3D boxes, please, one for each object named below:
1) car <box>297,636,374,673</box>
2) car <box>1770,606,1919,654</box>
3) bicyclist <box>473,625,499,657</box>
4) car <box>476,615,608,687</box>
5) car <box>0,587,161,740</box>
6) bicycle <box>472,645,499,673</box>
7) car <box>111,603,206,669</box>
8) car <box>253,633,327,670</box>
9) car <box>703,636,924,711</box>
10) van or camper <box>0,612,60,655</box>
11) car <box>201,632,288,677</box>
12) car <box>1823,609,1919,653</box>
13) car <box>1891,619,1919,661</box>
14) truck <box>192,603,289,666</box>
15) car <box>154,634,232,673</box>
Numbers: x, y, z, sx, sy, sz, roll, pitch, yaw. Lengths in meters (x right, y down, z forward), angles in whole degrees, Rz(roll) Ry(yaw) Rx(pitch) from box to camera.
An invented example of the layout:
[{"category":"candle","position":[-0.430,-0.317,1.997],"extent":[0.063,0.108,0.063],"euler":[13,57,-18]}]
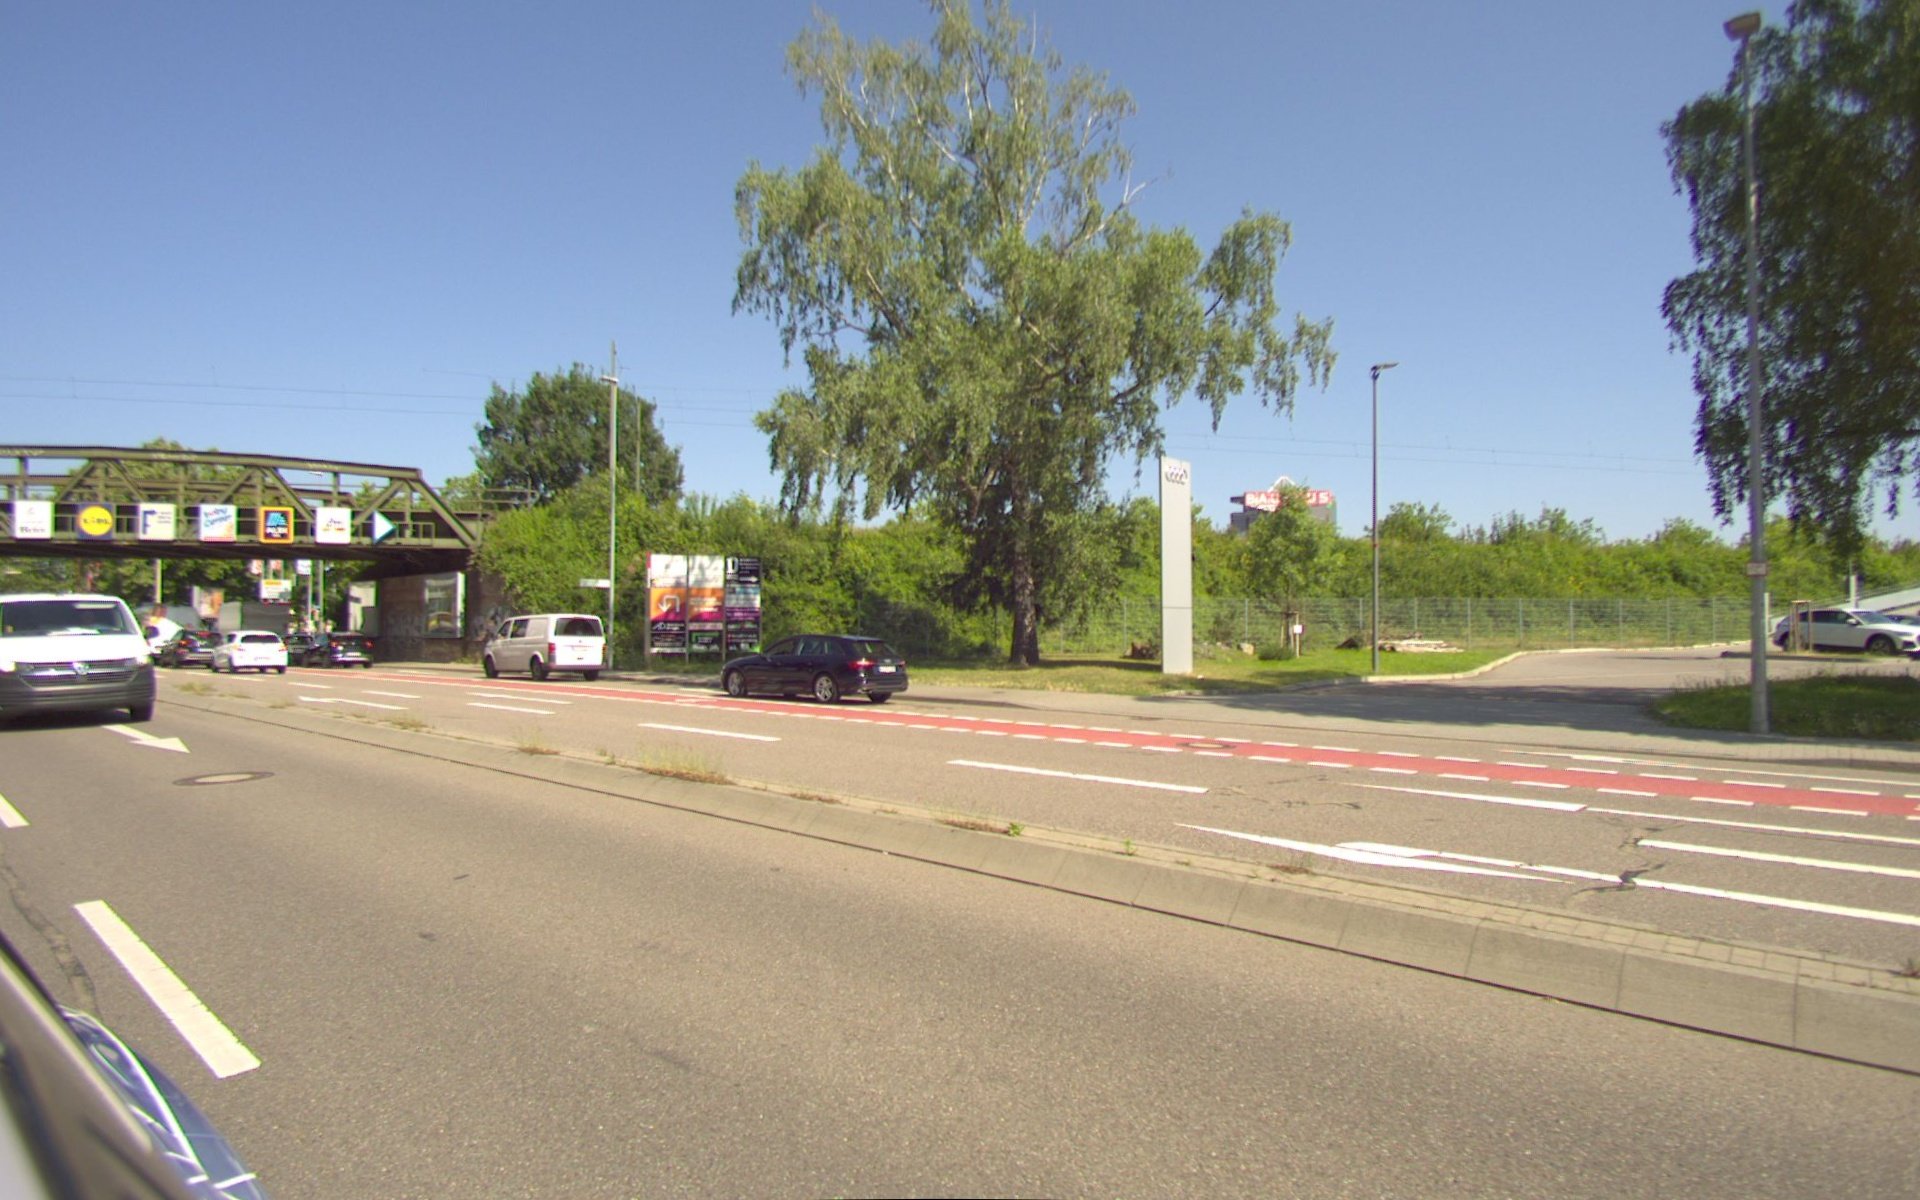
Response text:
[{"category":"car","position":[-27.142,2.379,43.934],"extent":[4.176,1.506,1.749],"euler":[-3,-5,42]},{"category":"car","position":[29.946,0.997,33.506],"extent":[1.966,1.453,4.562],"euler":[0,-2,-15]},{"category":"bicyclist","position":[-18.340,1.586,39.128],"extent":[0.626,1.237,0.951],"euler":[2,-3,-43]},{"category":"car","position":[-12.978,1.544,31.211],"extent":[1.970,2.029,5.351],"euler":[2,-3,-43]},{"category":"car","position":[-13.997,0.909,15.437],"extent":[4.970,2.009,1.863],"euler":[-2,-3,40]},{"category":"bicycle","position":[-18.412,2.282,39.230],"extent":[0.440,1.035,1.617],"euler":[2,-3,-43]},{"category":"car","position":[-36.607,1.668,46.158],"extent":[6.933,2.827,1.973],"euler":[-2,-5,41]},{"category":"car","position":[-32.337,2.501,48.809],"extent":[4.287,1.703,1.962],"euler":[-3,-5,42]},{"category":"car","position":[-3.186,1.488,21.619],"extent":[4.673,1.424,1.975],"euler":[-1,-2,37]},{"category":"van or camper","position":[-74.204,2.653,78.842],"extent":[2.596,3.179,5.710],"euler":[-3,-1,37]},{"category":"car","position":[-25.178,1.933,35.571],"extent":[3.827,1.506,1.625],"euler":[-3,-5,41]},{"category":"car","position":[32.218,1.045,33.997],"extent":[1.966,1.453,4.562],"euler":[0,-2,-15]},{"category":"car","position":[35.126,1.371,34.518],"extent":[1.966,1.453,4.562],"euler":[0,-2,-15]},{"category":"truck","position":[-37.770,1.797,53.039],"extent":[7.062,3.112,2.318],"euler":[-2,-2,39]},{"category":"car","position":[-31.128,2.205,41.035],"extent":[4.176,1.506,1.749],"euler":[-3,-5,42]}]
